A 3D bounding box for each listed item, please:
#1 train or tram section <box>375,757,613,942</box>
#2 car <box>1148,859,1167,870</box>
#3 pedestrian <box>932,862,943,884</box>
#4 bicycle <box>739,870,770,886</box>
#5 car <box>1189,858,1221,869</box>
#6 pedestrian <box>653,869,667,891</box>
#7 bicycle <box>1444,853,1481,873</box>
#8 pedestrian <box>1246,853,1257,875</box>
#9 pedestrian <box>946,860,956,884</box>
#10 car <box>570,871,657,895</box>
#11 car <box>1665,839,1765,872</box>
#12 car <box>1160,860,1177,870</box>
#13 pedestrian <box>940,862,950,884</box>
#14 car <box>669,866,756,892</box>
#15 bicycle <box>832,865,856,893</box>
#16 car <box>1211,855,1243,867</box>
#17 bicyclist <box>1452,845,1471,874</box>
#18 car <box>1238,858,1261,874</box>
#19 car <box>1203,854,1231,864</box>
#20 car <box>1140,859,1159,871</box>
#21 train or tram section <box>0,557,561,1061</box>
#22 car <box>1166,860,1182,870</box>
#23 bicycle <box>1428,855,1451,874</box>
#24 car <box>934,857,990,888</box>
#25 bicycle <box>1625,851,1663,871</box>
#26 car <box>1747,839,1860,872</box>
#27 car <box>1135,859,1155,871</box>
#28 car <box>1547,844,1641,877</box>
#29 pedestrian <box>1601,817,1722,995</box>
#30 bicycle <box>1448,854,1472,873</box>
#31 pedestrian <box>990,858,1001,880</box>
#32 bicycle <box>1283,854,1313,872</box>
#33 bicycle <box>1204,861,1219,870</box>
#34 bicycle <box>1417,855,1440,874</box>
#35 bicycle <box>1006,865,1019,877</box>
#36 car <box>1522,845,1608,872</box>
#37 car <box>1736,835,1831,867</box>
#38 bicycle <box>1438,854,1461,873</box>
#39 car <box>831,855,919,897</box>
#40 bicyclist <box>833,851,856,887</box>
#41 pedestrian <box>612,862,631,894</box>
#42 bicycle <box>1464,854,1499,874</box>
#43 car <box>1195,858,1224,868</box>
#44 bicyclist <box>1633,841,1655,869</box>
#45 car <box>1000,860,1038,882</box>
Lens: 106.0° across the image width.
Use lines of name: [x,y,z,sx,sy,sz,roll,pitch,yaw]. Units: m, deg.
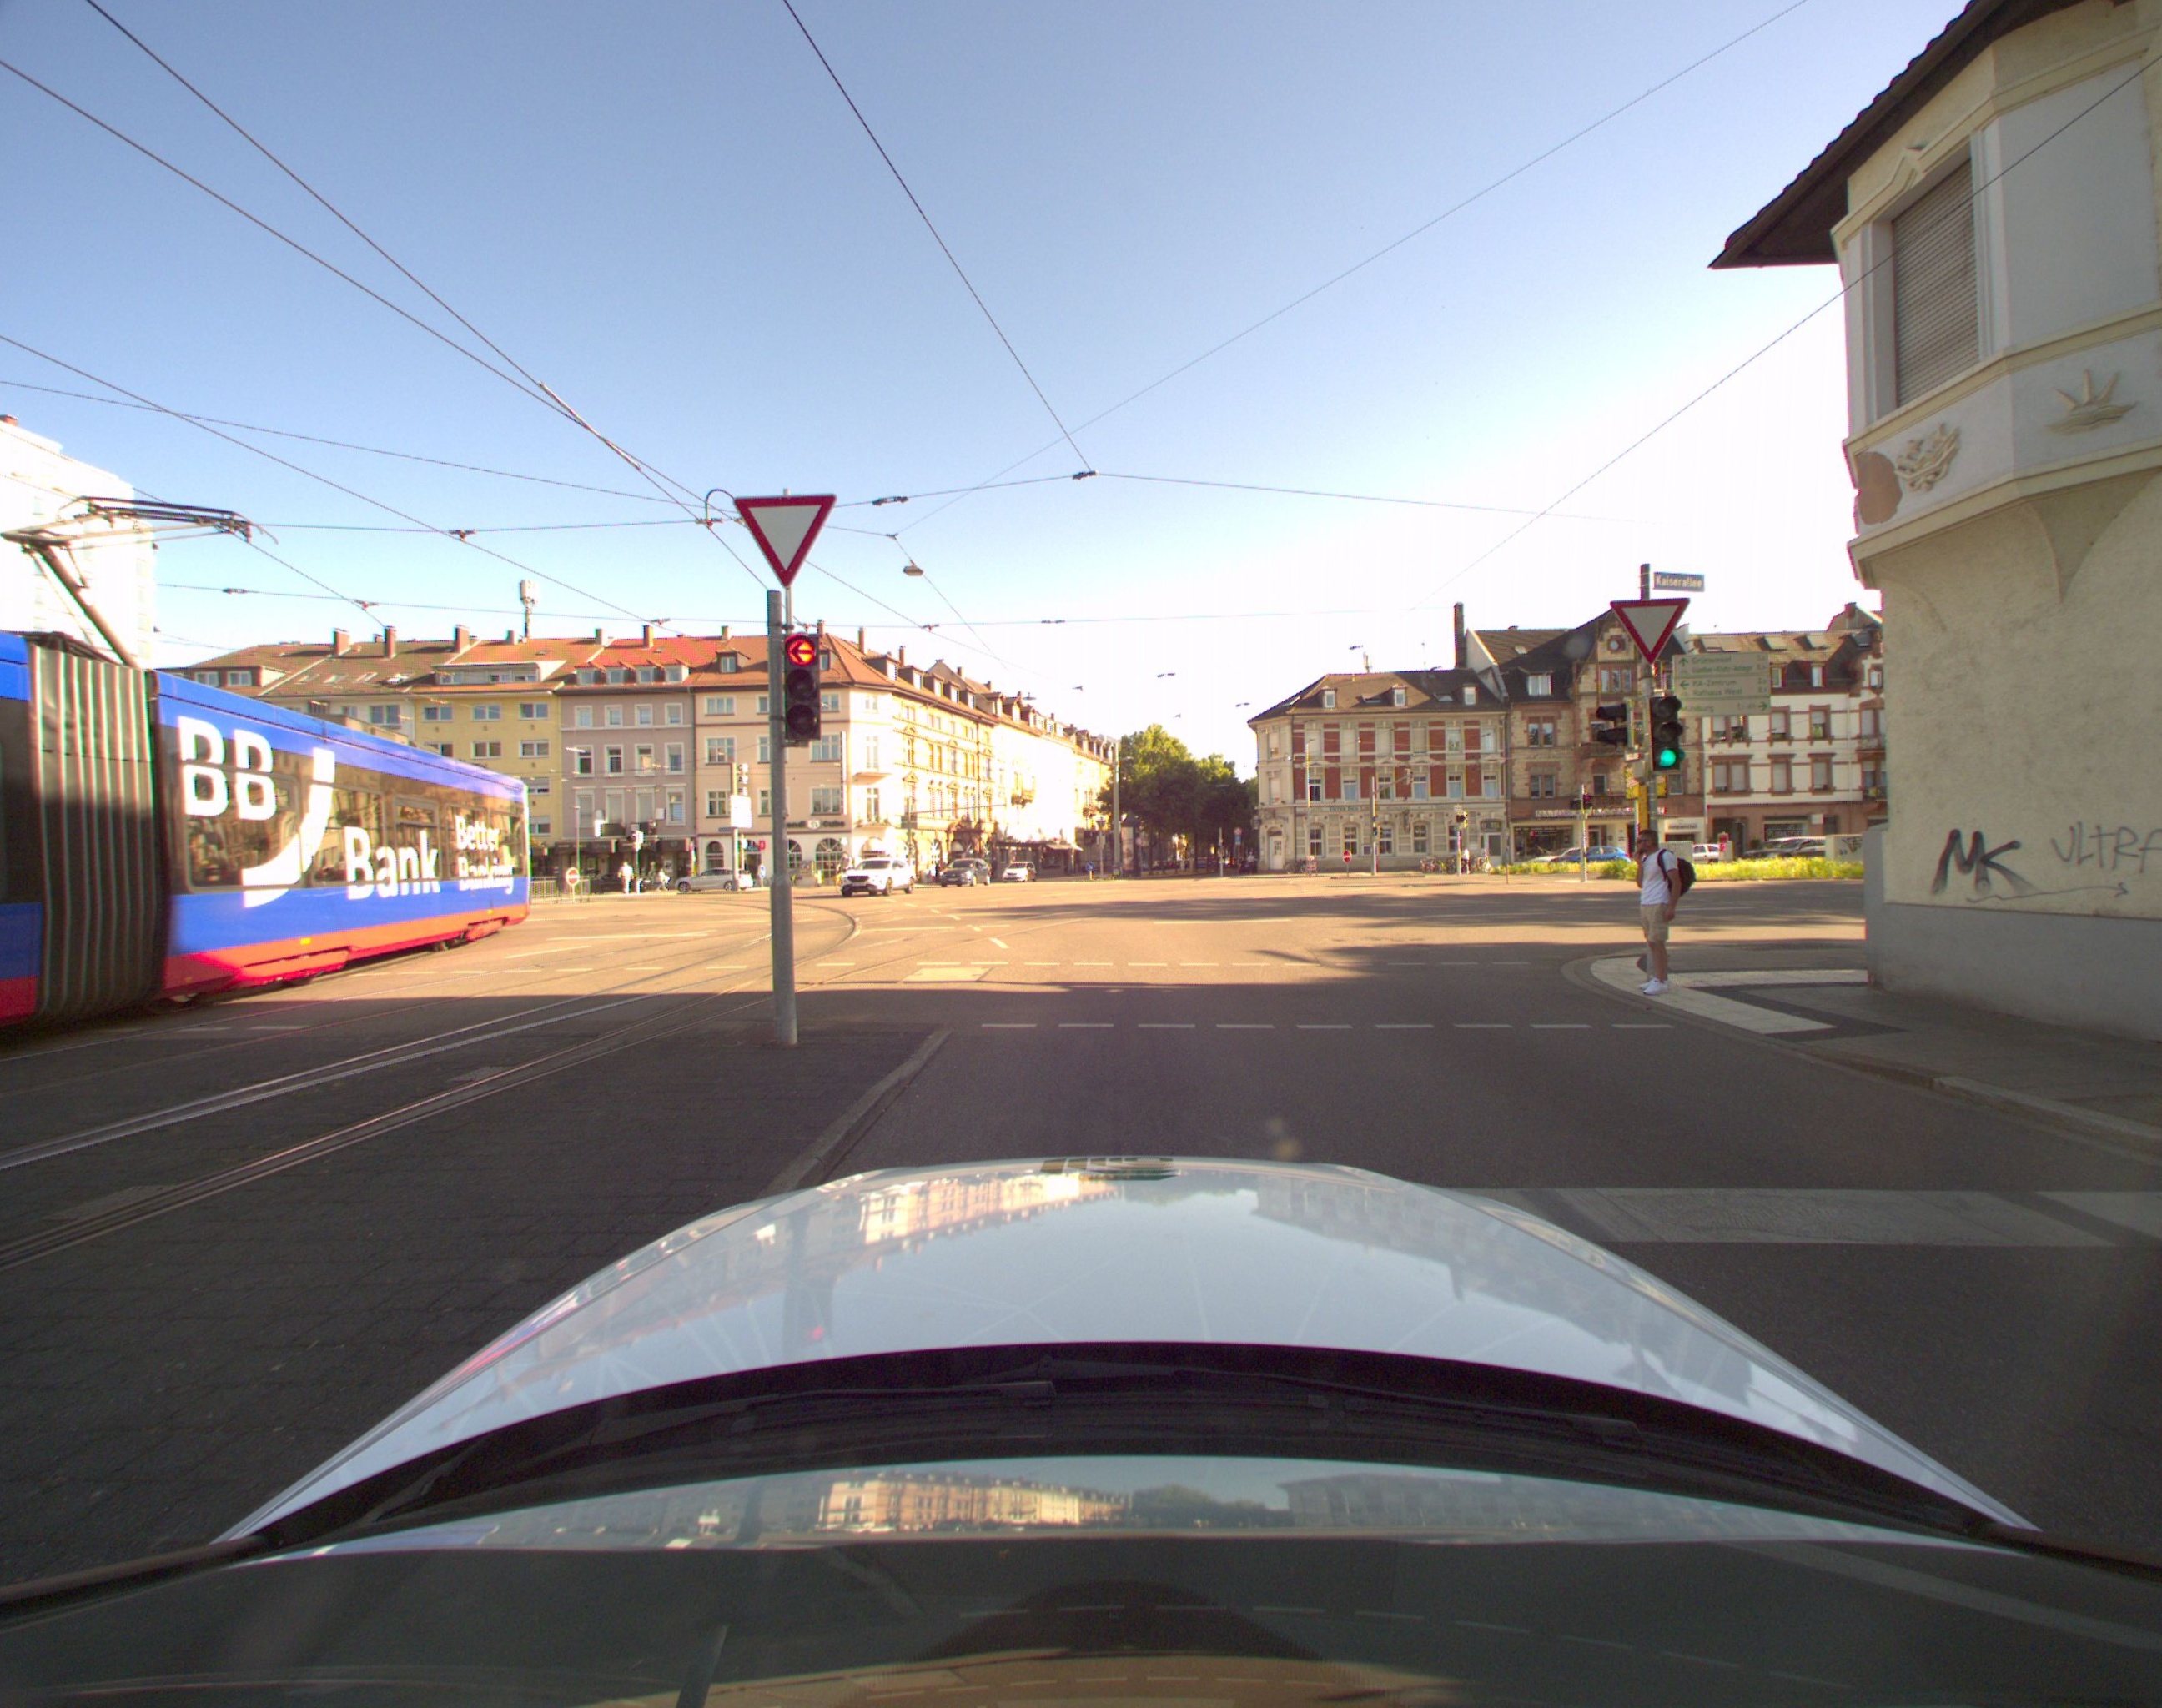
train or tram section: [-14.957,-0.052,21.973,3.071,3.613,12.011,-1,0,-26]
car: [11.516,1.617,122.506,1.978,1.497,4.051,-2,0,16]
pedestrian: [-11.261,1.489,63.934,0.622,1.642,0.540,-2,0,15]
bicycle: [-22.961,1.692,57.315,1.940,1.067,0.582,-1,0,-6]
car: [17.526,1.340,115.428,3.949,1.545,2.012,-2,0,30]
pedestrian: [-29.403,1.803,56.874,0.657,1.524,0.694,-1,0,-6]
bicycle: [23.639,0.583,50.509,1.952,1.191,0.602,-2,0,4]
pedestrian: [12.698,0.747,60.717,0.710,1.669,0.943,-2,0,14]
pedestrian: [-10.305,1.431,64.590,0.575,1.836,0.636,-2,0,18]
car: [-30.703,1.876,53.530,4.626,1.440,1.743,-1,-1,-1]
car: [34.803,0.090,44.766,3.973,1.668,1.955,-1,0,1]
car: [14.211,1.778,131.649,1.978,1.497,4.051,-2,0,16]
pedestrian: [-10.579,1.475,63.392,0.546,1.642,0.636,-2,0,18]
car: [-21.707,1.470,48.149,4.200,1.355,1.997,-1,0,-4]
bicycle: [-10.623,1.112,36.523,0.483,1.166,2.055,-1,0,-1]
car: [20.891,1.008,116.249,3.948,1.545,2.013,-2,0,32]
bicyclist: [23.606,0.316,50.513,0.869,1.764,0.602,-1,0,4]
car: [17.012,1.148,82.168,1.978,1.497,4.051,-2,0,16]
car: [22.361,0.829,133.846,3.949,1.545,2.012,-2,0,30]
car: [9.900,1.584,117.305,1.978,1.497,4.051,-2,0,16]
train or tram section: [-10.809,-0.244,10.892,3.062,3.613,12.432,-1,0,-16]
car: [15.554,1.881,136.349,1.978,1.497,4.051,-2,0,16]
bicycle: [23.197,0.655,52.777,0.674,1.191,1.969,-1,0,3]
car: [-6.192,0.936,42.960,1.764,1.497,4.582,-2,0,7]
bicycle: [35.138,0.444,50.819,1.956,1.191,0.601,-1,0,-3]
car: [39.582,0.066,44.705,4.456,1.668,1.955,-1,0,1]
car: [8.929,1.554,112.839,1.978,1.497,4.051,-2,0,16]
car: [28.316,0.337,45.031,3.973,1.668,1.955,-1,0,1]
pedestrian: [6.076,0.525,8.541,0.691,1.740,0.668,-4,-1,-28]
bicycle: [24.518,0.590,52.739,0.674,1.191,1.969,-1,0,3]
pedestrian: [-7.756,1.363,73.952,0.676,1.908,0.636,-2,0,18]
bicycle: [15.185,0.655,56.962,1.950,1.191,0.547,-2,0,6]
bicycle: [15.869,1.358,99.040,0.586,1.067,1.928,-1,0,-34]
bicycle: [22.495,0.645,52.768,0.674,1.191,1.969,-1,0,3]
bicycle: [-6.712,1.676,79.870,0.491,1.067,1.778,-2,0,18]
car: [28.508,0.259,48.025,3.973,1.412,1.846,-1,0,1]
car: [45.233,-0.191,52.500,4.388,1.965,1.955,-1,0,1]
bicycle: [23.845,0.622,52.762,0.674,1.191,1.969,-1,0,3]
car: [-8.038,0.810,32.203,1.984,1.497,4.354,-2,0,5]
bicyclist: [-10.619,0.674,36.612,0.712,1.559,0.986,-1,0,-1]
pedestrian: [-24.020,1.230,42.572,0.728,1.627,0.666,-1,0,-23]
bicycle: [25.743,0.638,52.311,1.961,1.191,0.677,-1,0,-10]
car: [20.197,1.445,128.011,3.949,1.545,2.012,-2,0,30]
bicyclist: [35.151,0.059,50.825,0.901,1.764,0.601,-1,0,-3]
car: [-4.388,1.185,58.198,1.706,1.497,3.595,-2,0,12]
